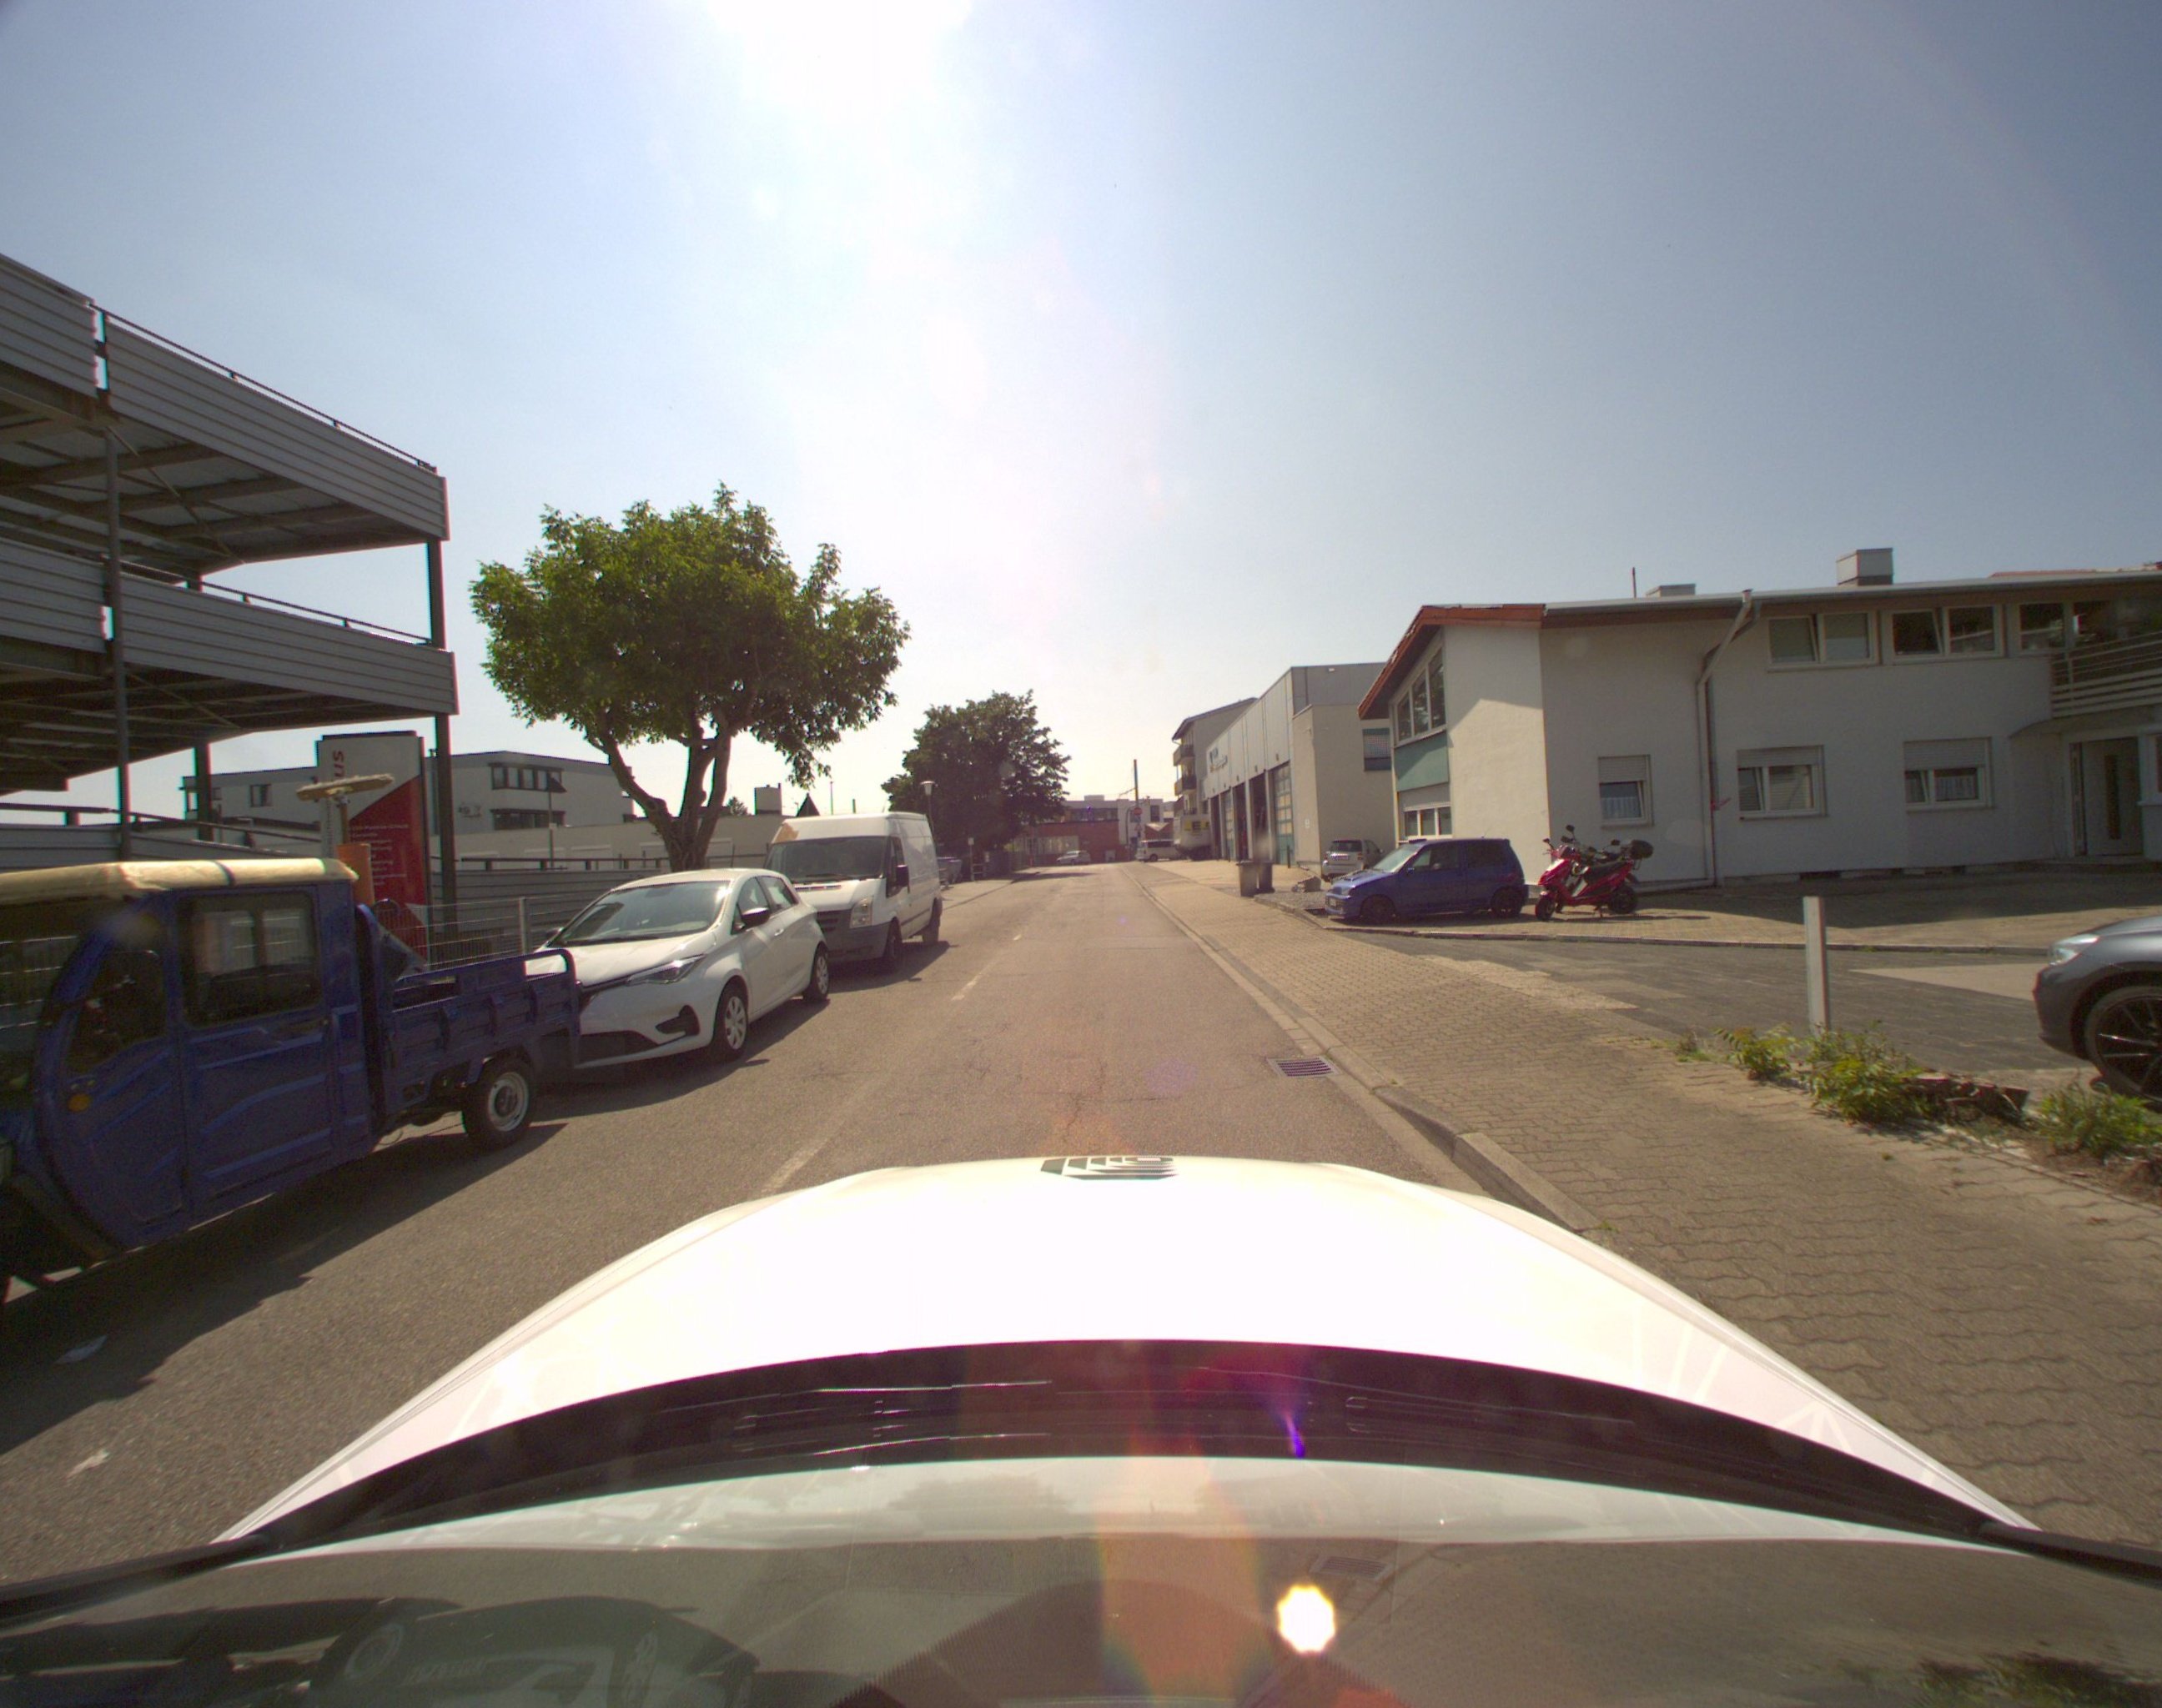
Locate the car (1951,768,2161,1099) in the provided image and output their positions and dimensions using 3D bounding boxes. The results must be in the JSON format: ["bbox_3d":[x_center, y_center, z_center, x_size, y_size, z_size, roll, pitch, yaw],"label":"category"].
[{"bbox_3d":[5.936,0.337,2.562,1.805,1.558,4.293,-3,0,1],"label":"car"}]

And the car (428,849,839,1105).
[{"bbox_3d":[-3.660,0.848,7.594,1.701,1.624,3.969,-4,0,-3],"label":"car"}]

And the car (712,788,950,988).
[{"bbox_3d":[-3.577,0.419,12.889,1.999,2.366,5.228,-4,0,0],"label":"car"}]

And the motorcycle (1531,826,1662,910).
[{"bbox_3d":[8.902,0.237,14.099,1.748,1.279,0.794,-4,0,-8],"label":"motorcycle"}]

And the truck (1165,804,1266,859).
[{"bbox_3d":[10.780,-1.801,65.603,7.347,3.645,2.763,-6,1,-5],"label":"truck"}]

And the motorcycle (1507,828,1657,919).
[{"bbox_3d":[8.048,0.301,13.132,1.864,1.279,0.796,-4,0,-2],"label":"motorcycle"}]

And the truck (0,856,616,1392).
[{"bbox_3d":[-3.834,0.873,4.055,1.135,1.622,3.140,-5,0,-1],"label":"truck"}]

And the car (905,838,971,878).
[{"bbox_3d":[-9.712,0.260,55.651,4.073,2.513,1.776,-3,0,-1],"label":"car"}]

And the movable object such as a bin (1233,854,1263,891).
[{"bbox_3d":[4.525,0.505,22.070,0.562,0.946,0.561,-3,0,35],"label":"movable object such as a bin"}]

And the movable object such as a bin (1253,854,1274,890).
[{"bbox_3d":[5.028,0.504,22.474,0.510,0.946,0.489,-3,0,12],"label":"movable object such as a bin"}]

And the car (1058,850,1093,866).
[{"bbox_3d":[-0.622,0.385,85.448,1.903,1.685,3.918,-1,1,-31],"label":"car"}]

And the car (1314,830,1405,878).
[{"bbox_3d":[10.340,-0.033,30.138,1.756,1.539,3.726,-3,0,43],"label":"car"}]

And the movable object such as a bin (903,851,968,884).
[{"bbox_3d":[-7.742,0.695,43.649,2.613,1.510,2.734,-4,0,7],"label":"movable object such as a bin"}]

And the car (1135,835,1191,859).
[{"bbox_3d":[7.449,-0.629,74.058,4.667,1.957,1.905,-3,0,-18],"label":"car"}]

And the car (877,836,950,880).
[{"bbox_3d":[-10.413,0.245,50.835,4.073,2.513,1.776,-3,0,-1],"label":"car"}]

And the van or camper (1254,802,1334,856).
[{"bbox_3d":[14.275,-1.668,54.794,4.744,3.288,1.998,-3,0,-3],"label":"van or camper"}]

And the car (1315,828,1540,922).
[{"bbox_3d":[6.007,0.349,14.416,3.241,1.398,1.674,-3,0,1],"label":"car"}]
